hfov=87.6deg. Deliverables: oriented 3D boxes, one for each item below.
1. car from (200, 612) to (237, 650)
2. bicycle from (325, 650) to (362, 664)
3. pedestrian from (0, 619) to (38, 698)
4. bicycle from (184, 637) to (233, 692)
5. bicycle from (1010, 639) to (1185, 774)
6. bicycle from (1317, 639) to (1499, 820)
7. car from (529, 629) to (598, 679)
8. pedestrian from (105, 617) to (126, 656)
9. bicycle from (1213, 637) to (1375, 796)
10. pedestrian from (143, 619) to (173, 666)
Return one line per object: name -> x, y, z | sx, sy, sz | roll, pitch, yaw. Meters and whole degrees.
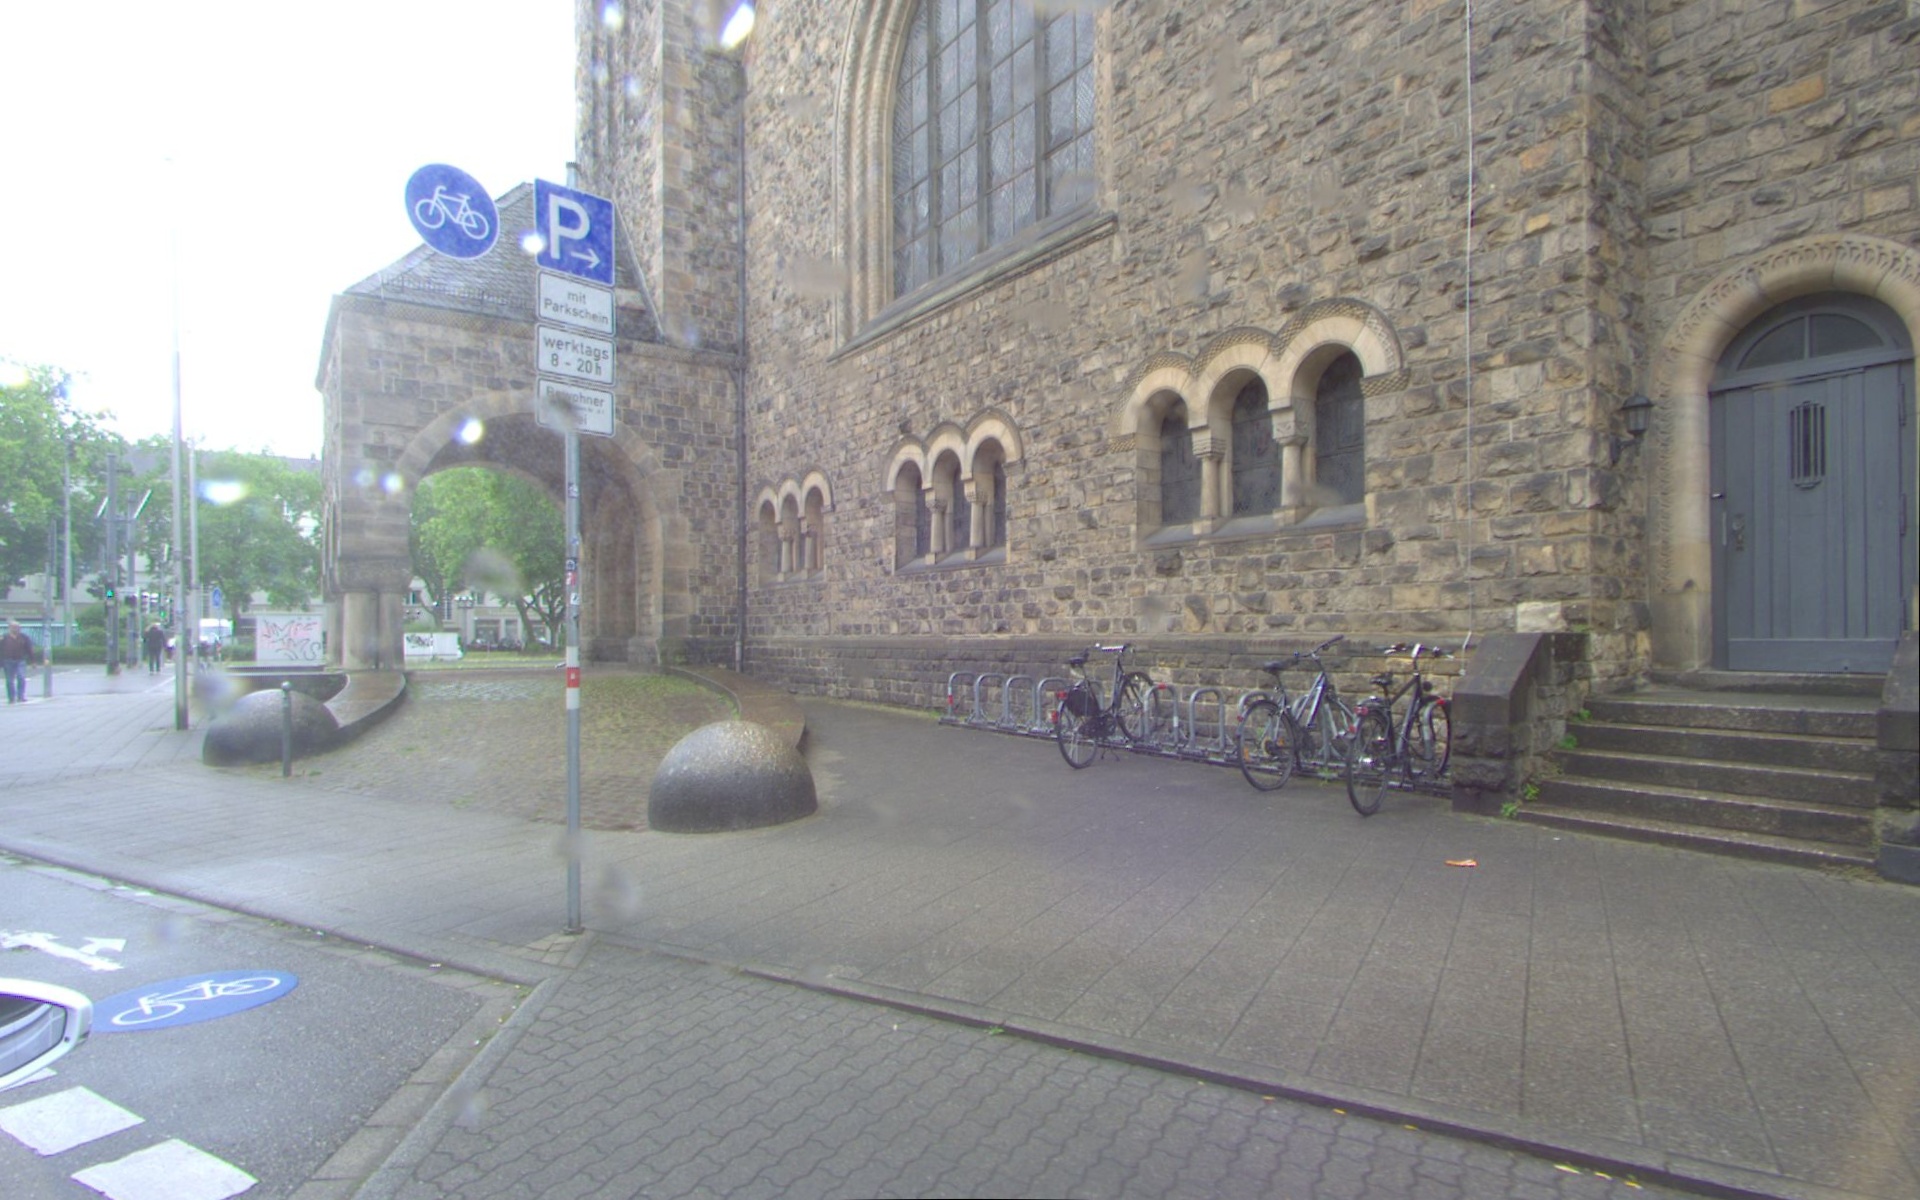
car -> -53.614, 2.239, 72.444 | 1.888, 2.588, 4.757 | 0, -2, -34
bicycle -> -34.410, 3.179, 55.896 | 1.683, 0.728, 0.648 | 1, -1, -38
pedestrian -> -21.656, 1.325, 22.942 | 0.780, 1.782, 0.936 | 0, 0, -43
bicycle -> -16.502, 1.391, 21.964 | 2.049, 1.169, 0.327 | -1, -1, 38
bicycle -> 1.393, 0.983, 9.843 | 0.684, 1.119, 1.973 | -2, 0, 43
bicycle -> 3.291, 0.858, 7.252 | 1.971, 1.068, 0.507 | -2, 0, -45
car -> -12.656, 1.671, 31.856 | 1.389, 1.498, 3.200 | 1, -2, -34
pedestrian -> -45.056, 1.935, 53.428 | 0.797, 2.040, 0.586 | 0, -1, -31
bicycle -> 2.827, 0.910, 8.366 | 1.697, 1.126, 0.556 | -2, 0, -45
pedestrian -> -28.543, 1.508, 35.647 | 0.775, 1.667, 0.651 | 0, 0, -34
